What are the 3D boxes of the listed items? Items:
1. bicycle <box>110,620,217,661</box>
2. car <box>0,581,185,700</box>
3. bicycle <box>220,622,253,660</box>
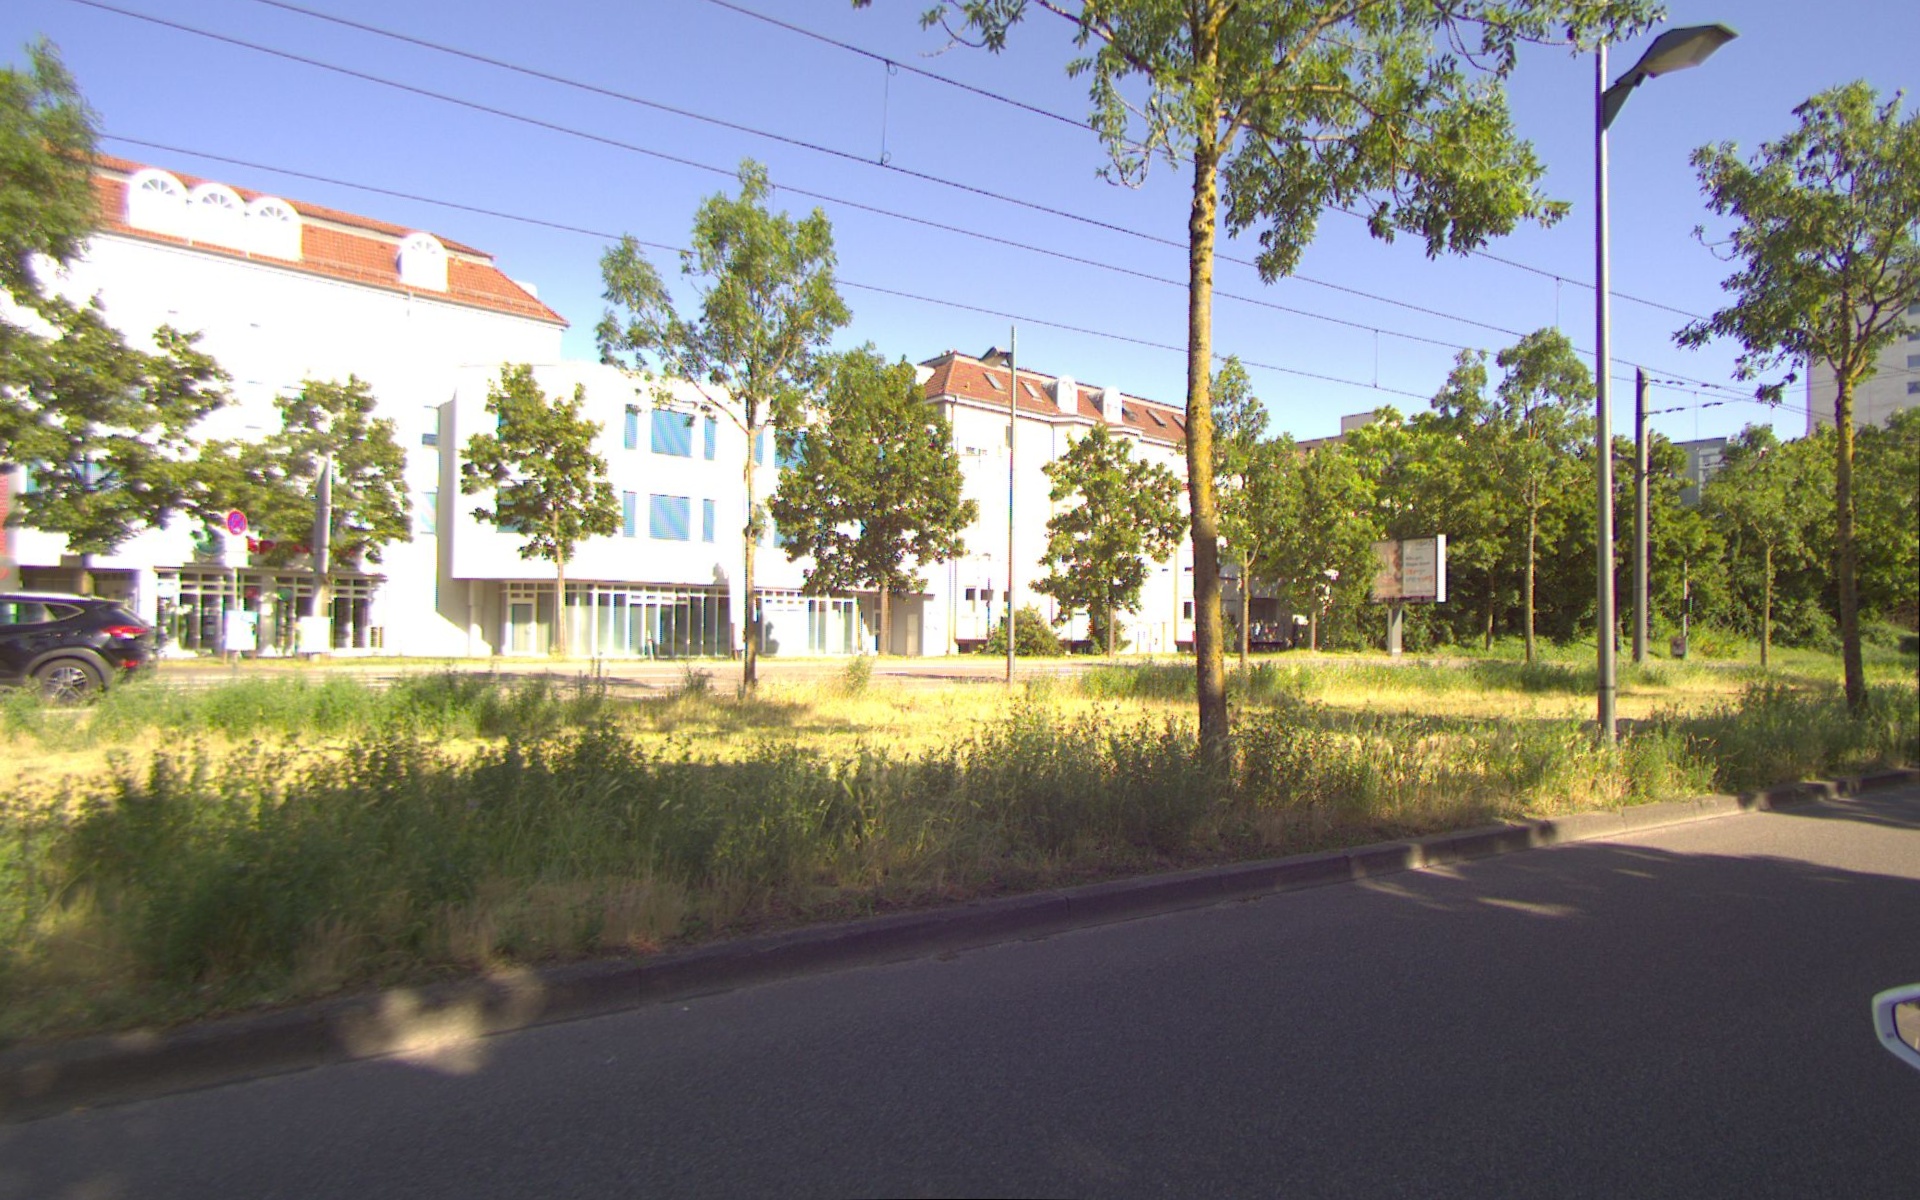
[{"bbox_3d":[-24.870,1.259,31.422,2.526,1.229,0.713,2,-2,-34],"label":"bicycle"},{"bbox_3d":[-14.184,0.575,14.580,4.440,1.662,1.809,2,-2,-33],"label":"car"},{"bbox_3d":[-23.957,1.343,33.303,0.712,1.229,2.530,1,-2,-32],"label":"bicycle"}]
